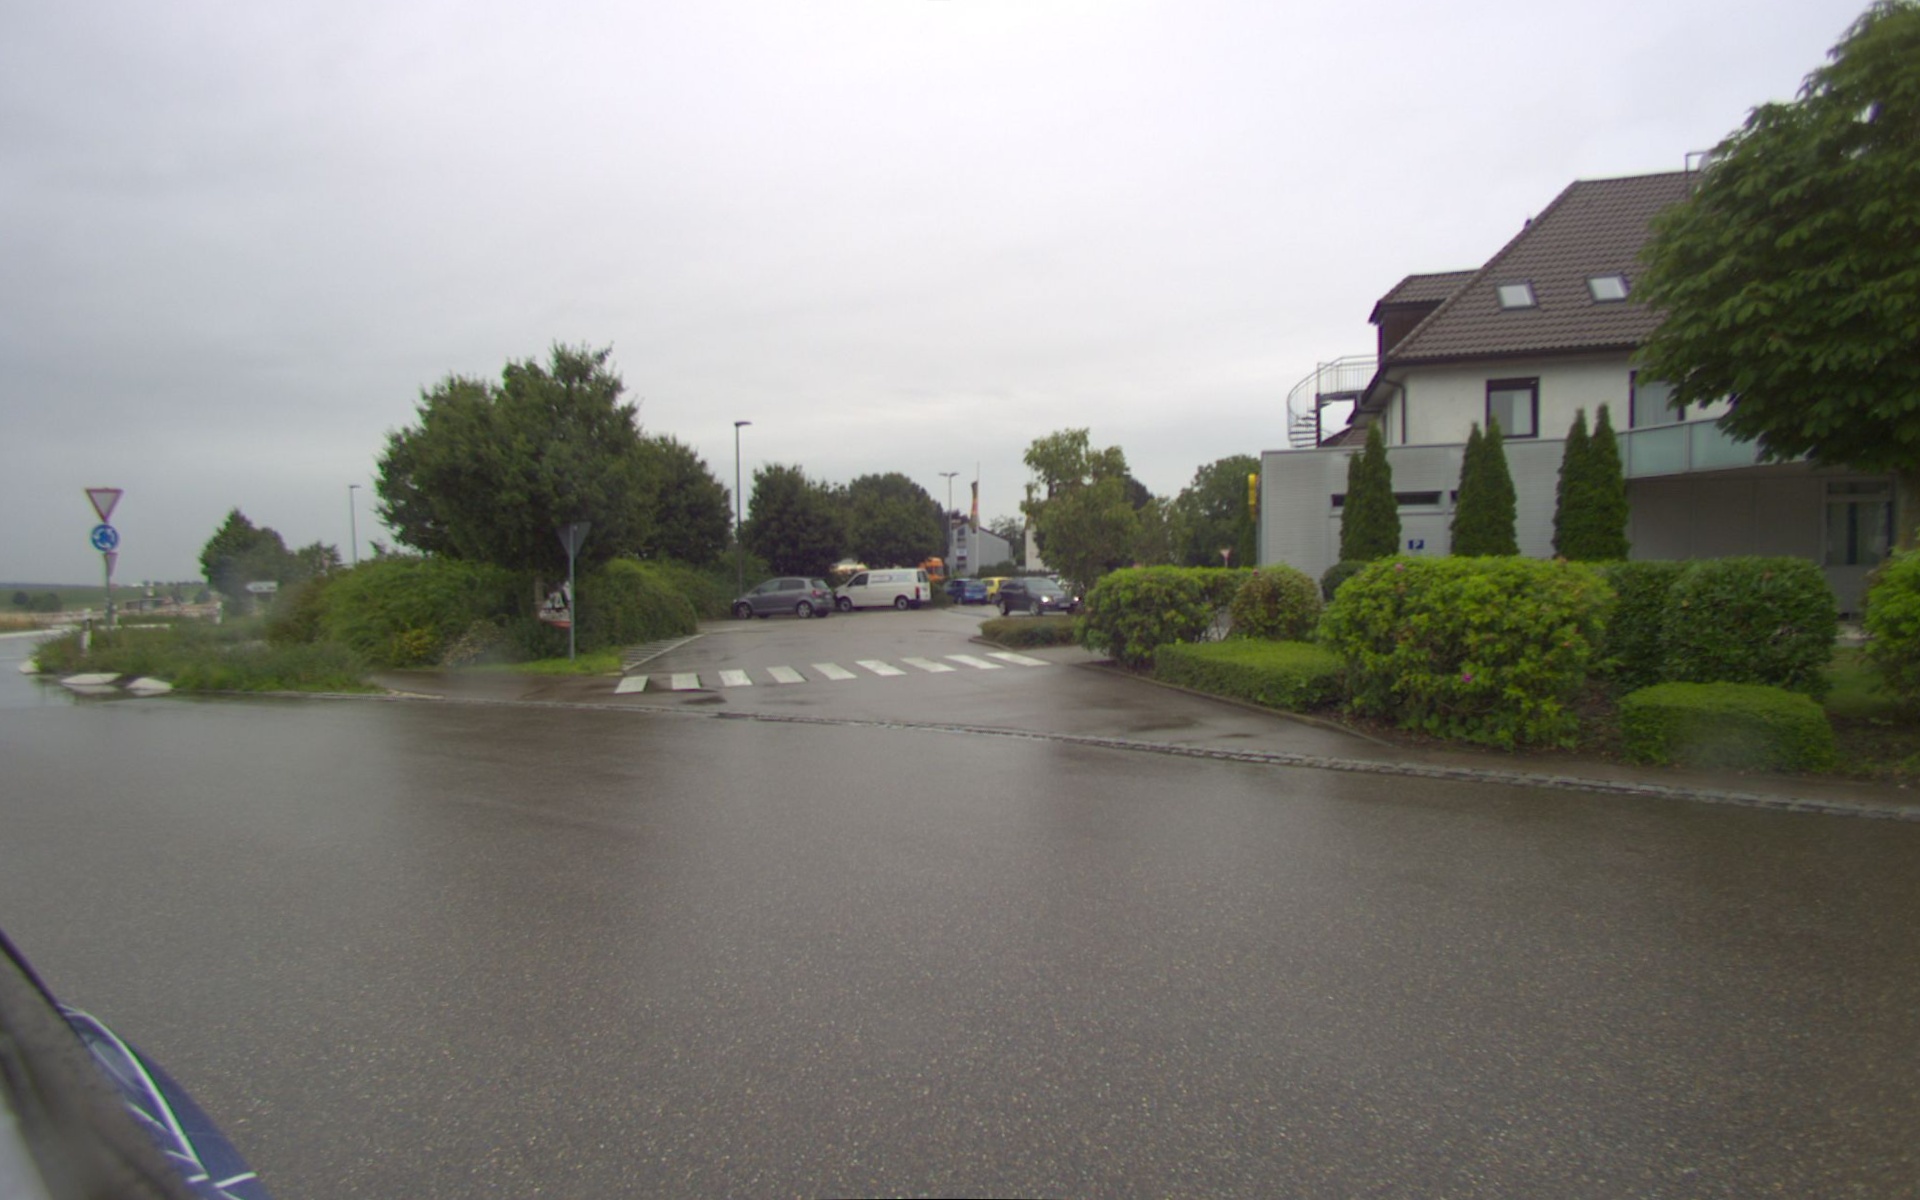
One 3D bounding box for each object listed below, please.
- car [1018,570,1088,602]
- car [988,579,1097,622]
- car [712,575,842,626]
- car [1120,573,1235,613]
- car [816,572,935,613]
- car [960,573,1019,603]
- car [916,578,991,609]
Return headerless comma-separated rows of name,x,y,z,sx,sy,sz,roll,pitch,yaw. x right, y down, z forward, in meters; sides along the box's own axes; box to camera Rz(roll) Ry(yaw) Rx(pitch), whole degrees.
car,5.462,-0.838,59.820,1.957,1.741,4.011,-2,0,-34
car,2.967,-0.004,37.391,1.677,1.435,4.373,-3,1,-32
car,-7.106,0.020,39.386,4.570,1.735,1.989,-2,0,17
car,8.647,-0.282,40.130,4.321,1.435,1.841,-1,1,16
car,-4.070,-0.335,48.777,5.332,1.735,1.989,-2,0,18
car,1.618,-0.648,57.081,1.638,1.561,3.738,-2,0,-28
car,-0.405,-0.330,55.417,1.966,1.562,4.662,-2,0,-30
